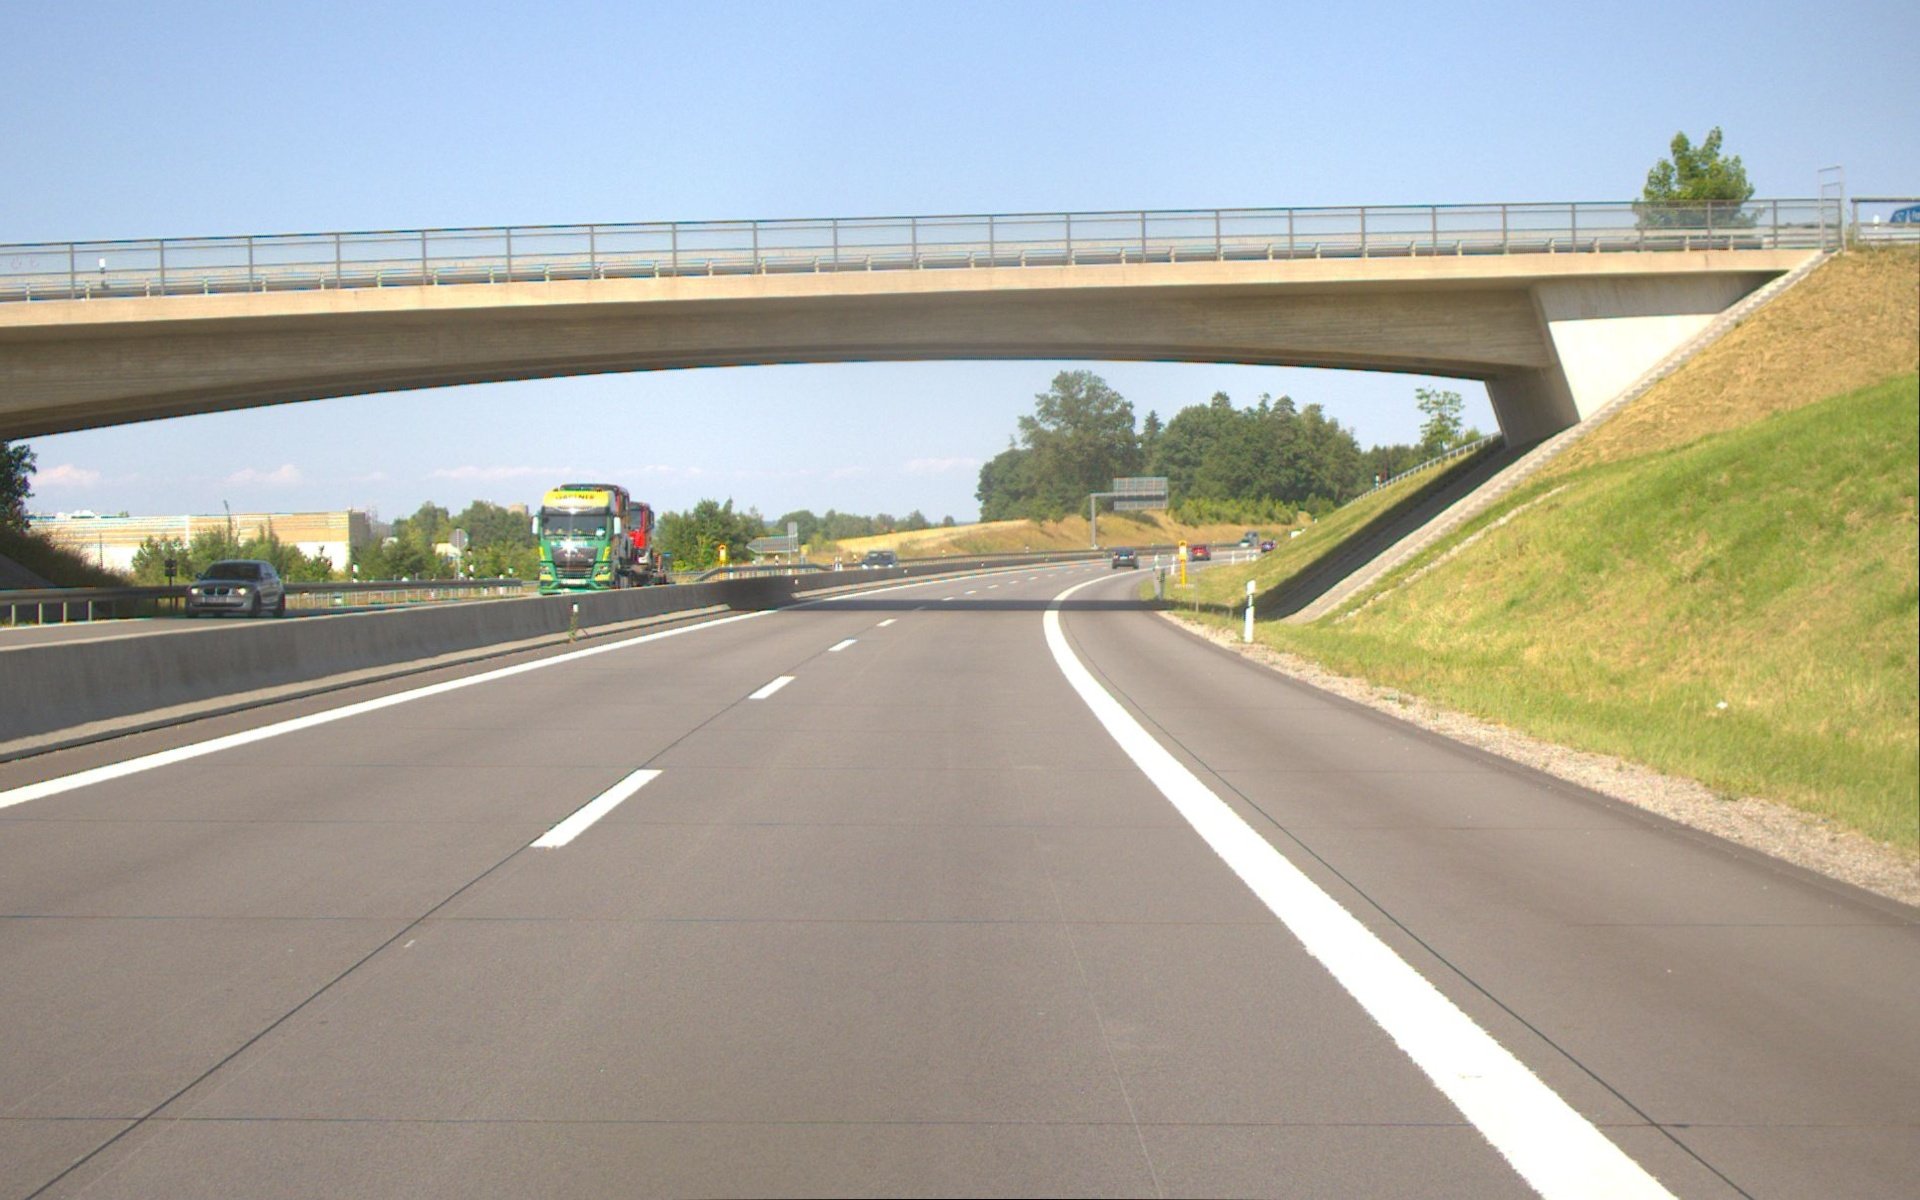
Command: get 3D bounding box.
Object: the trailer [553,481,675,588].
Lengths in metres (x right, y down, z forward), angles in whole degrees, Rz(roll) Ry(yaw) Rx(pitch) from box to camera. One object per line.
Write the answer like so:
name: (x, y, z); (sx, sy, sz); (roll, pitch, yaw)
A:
trailer: (-12.435, -2.355, 124.653); (2.665, 3.645, 13.236); (0, 1, 2)

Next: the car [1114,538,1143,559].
car: (12.081, -3.724, 246.795); (1.994, 1.415, 4.000); (-2, 1, 4)

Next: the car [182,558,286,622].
car: (-17.990, -0.267, 85.368); (1.861, 1.525, 4.569); (0, 1, -3)

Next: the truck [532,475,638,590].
truck: (-12.783, -2.293, 117.519); (2.735, 3.818, 5.831); (0, 1, 2)
